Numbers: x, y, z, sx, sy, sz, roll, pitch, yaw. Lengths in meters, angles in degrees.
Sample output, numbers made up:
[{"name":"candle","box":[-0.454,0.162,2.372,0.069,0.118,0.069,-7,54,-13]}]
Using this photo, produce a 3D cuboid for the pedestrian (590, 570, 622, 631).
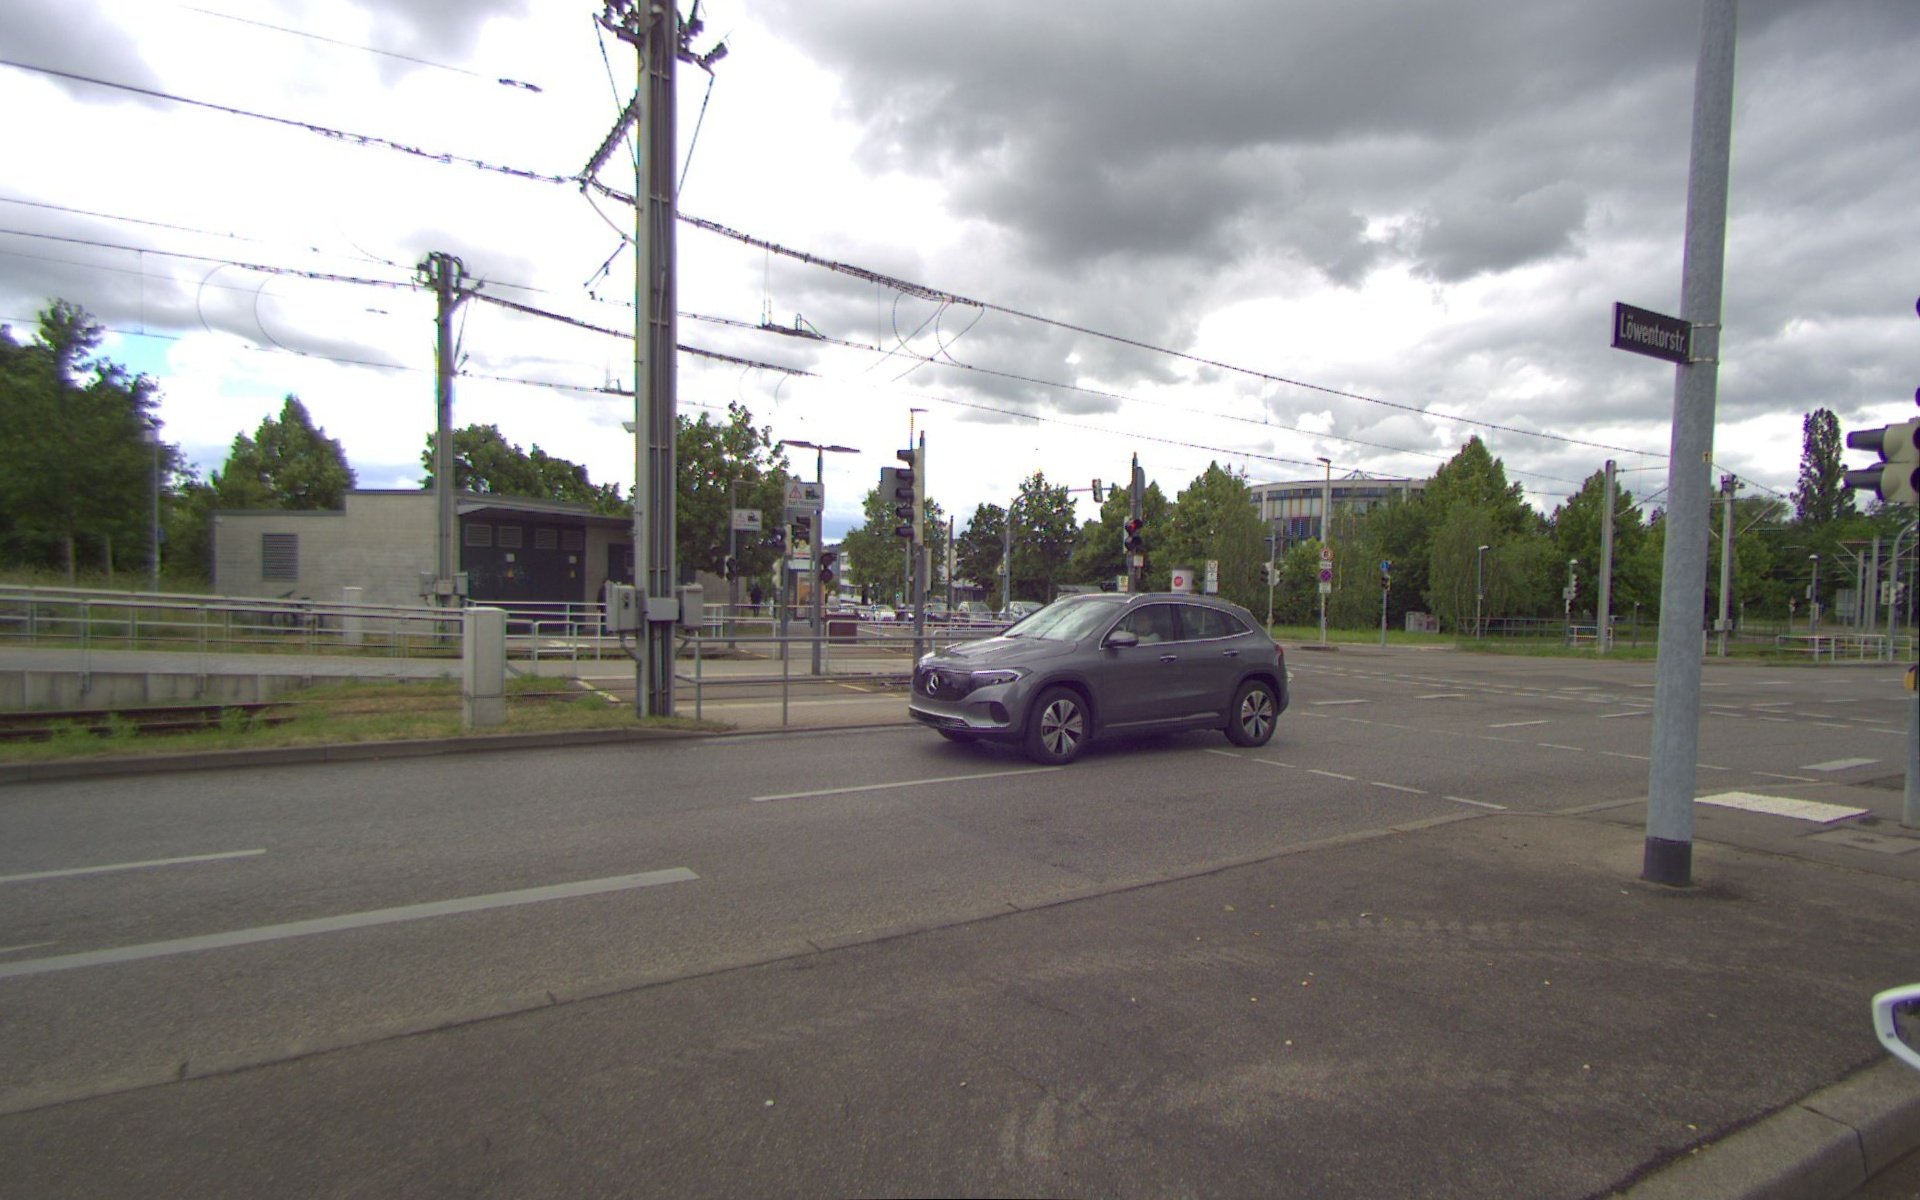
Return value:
[{"name":"pedestrian","box":[-9.561,0.011,27.137,0.698,1.628,0.653,1,0,-30]}]

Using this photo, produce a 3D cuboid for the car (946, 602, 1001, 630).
[{"name":"car","box":[0.696,0.846,53.670,1.706,1.456,3.731,1,0,-20]}]

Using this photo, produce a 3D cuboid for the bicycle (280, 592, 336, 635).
[{"name":"bicycle","box":[-17.321,0.347,26.678,1.452,1.101,0.492,1,0,22]}]

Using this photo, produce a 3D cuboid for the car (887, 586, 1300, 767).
[{"name":"car","box":[1.489,0.689,10.594,4.179,1.567,1.768,1,0,-33]}]

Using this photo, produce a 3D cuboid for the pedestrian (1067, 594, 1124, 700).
[{"name":"pedestrian","box":[2.089,0.702,15.440,0.701,1.584,0.533,1,1,-44]}]

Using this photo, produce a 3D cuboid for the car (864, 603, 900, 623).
[{"name":"car","box":[-5.807,0.966,74.783,1.706,1.456,3.731,1,0,-20]}]

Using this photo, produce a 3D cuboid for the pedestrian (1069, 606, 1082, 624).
[{"name":"pedestrian","box":[8.363,1.084,72.932,0.652,1.321,0.780,1,0,-16]}]

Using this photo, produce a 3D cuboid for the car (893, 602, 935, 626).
[{"name":"car","box":[-2.998,0.891,64.932,1.706,1.456,3.731,1,0,-20]}]

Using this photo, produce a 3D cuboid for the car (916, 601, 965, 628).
[{"name":"car","box":[-1.144,0.819,58.166,1.706,1.456,3.731,1,0,-20]}]

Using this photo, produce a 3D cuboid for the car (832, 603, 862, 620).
[{"name":"car","box":[-9.763,0.991,86.717,1.706,1.456,3.731,1,0,-20]}]

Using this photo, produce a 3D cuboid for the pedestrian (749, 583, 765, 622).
[{"name":"pedestrian","box":[-10.352,0.121,51.308,0.738,1.993,0.795,1,0,-9]}]

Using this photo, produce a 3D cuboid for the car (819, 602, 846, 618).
[{"name":"car","box":[-11.926,0.967,94.073,1.706,1.456,3.731,1,0,-20]}]

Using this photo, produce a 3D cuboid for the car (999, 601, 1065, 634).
[{"name":"car","box":[3.308,0.802,46.811,1.706,1.456,3.731,1,0,-20]}]

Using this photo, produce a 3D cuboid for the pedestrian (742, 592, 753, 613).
[{"name":"pedestrian","box":[-16.483,0.174,77.939,0.771,1.649,0.660,1,0,-22]}]
